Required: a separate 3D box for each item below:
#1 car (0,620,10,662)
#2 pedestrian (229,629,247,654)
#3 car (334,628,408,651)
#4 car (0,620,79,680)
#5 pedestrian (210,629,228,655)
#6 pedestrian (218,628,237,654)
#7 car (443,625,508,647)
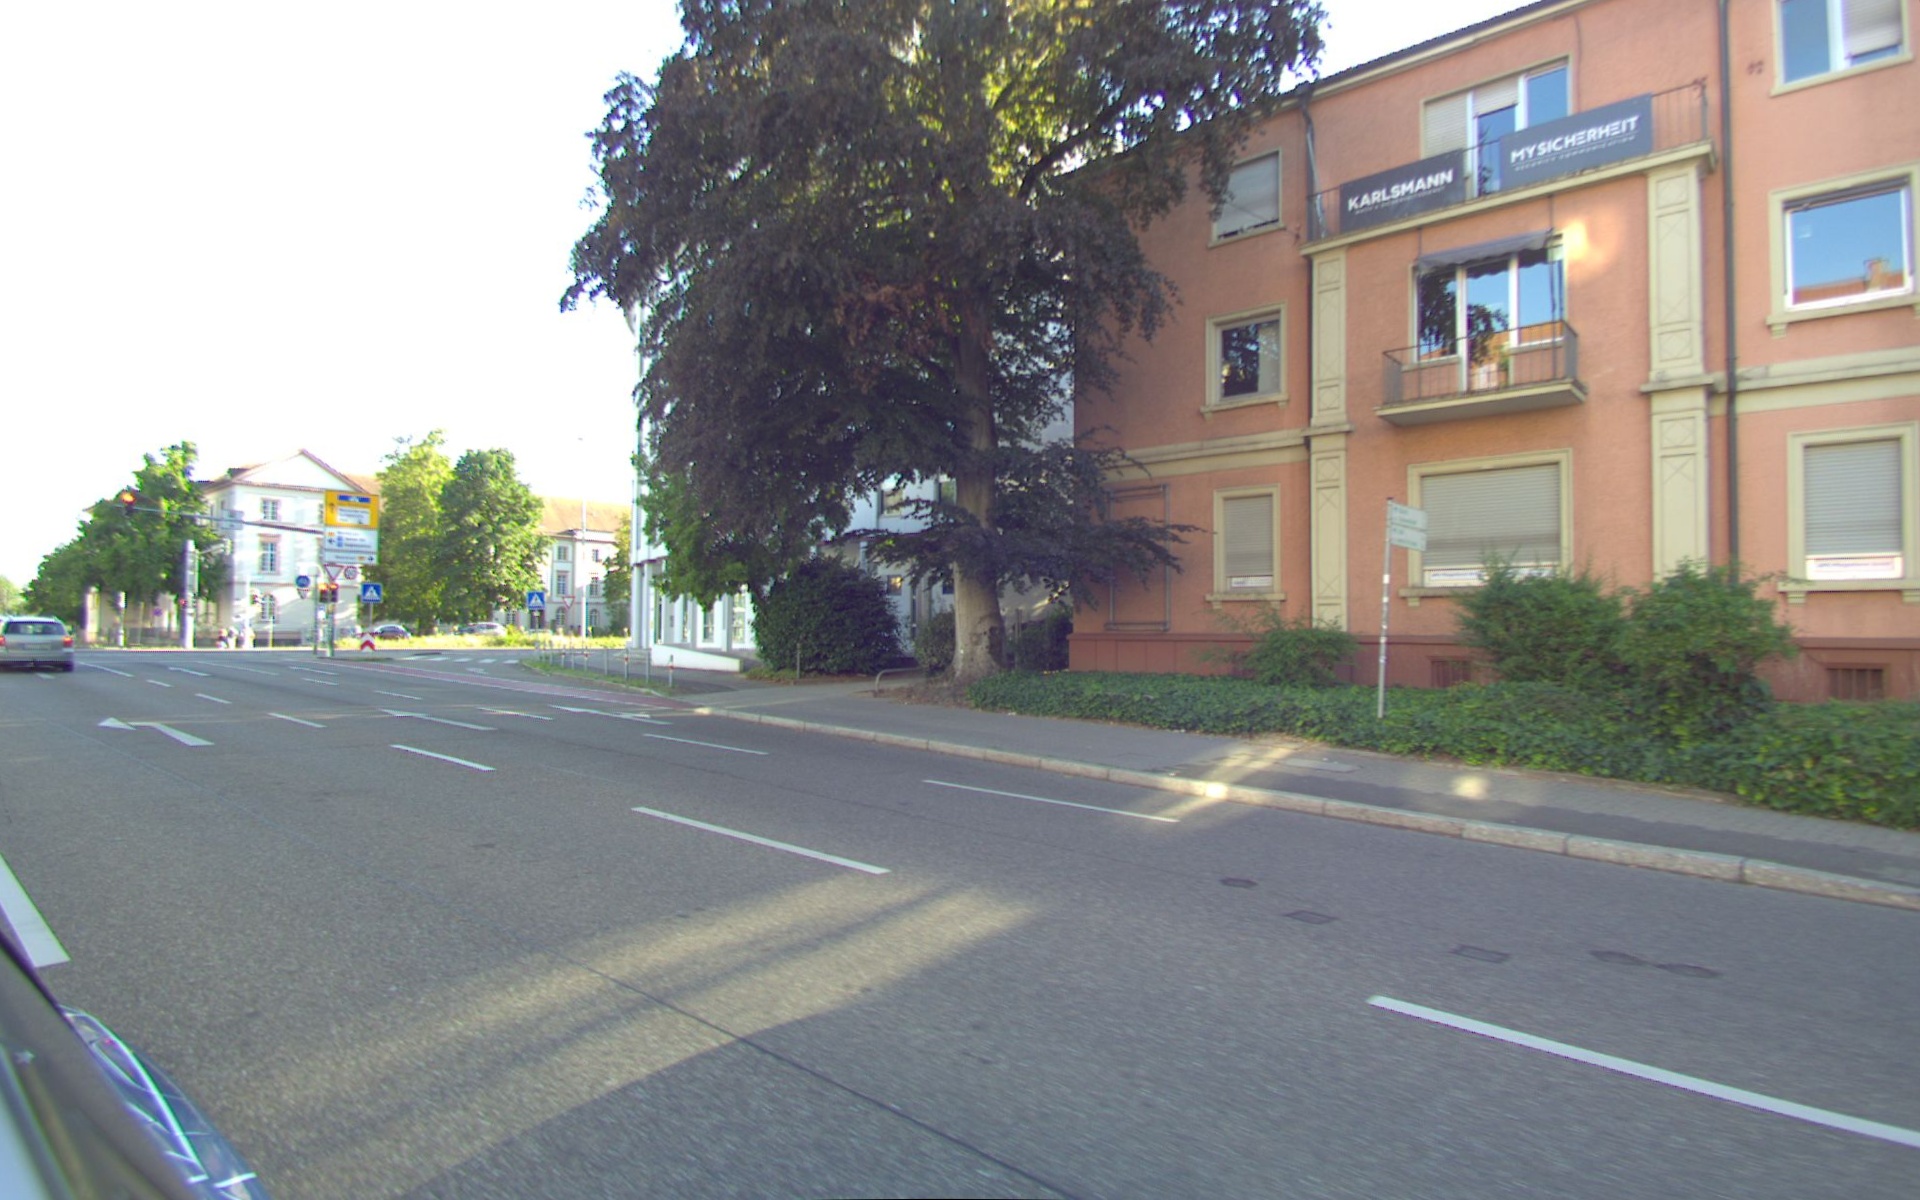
[{"bbox_3d":[-35.812,1.477,36.552,3.900,1.472,1.808,-2,-3,41],"label":"car"},{"bbox_3d":[-47.837,2.737,67.088,0.880,1.663,0.671,-2,-3,33],"label":"pedestrian"},{"bbox_3d":[-37.435,2.503,64.371,1.997,1.457,3.601,-2,-3,37],"label":"car"},{"bbox_3d":[-25.672,1.345,27.806,4.606,1.526,1.807,-2,-3,44],"label":"car"},{"bbox_3d":[-48.508,2.746,66.247,0.887,1.663,0.614,-2,-3,33],"label":"pedestrian"},{"bbox_3d":[-50.747,2.839,70.086,1.081,1.721,0.671,-1,-3,33],"label":"pedestrian"},{"bbox_3d":[-33.585,2.504,70.221,1.997,1.457,3.601,-2,-3,37],"label":"car"}]
